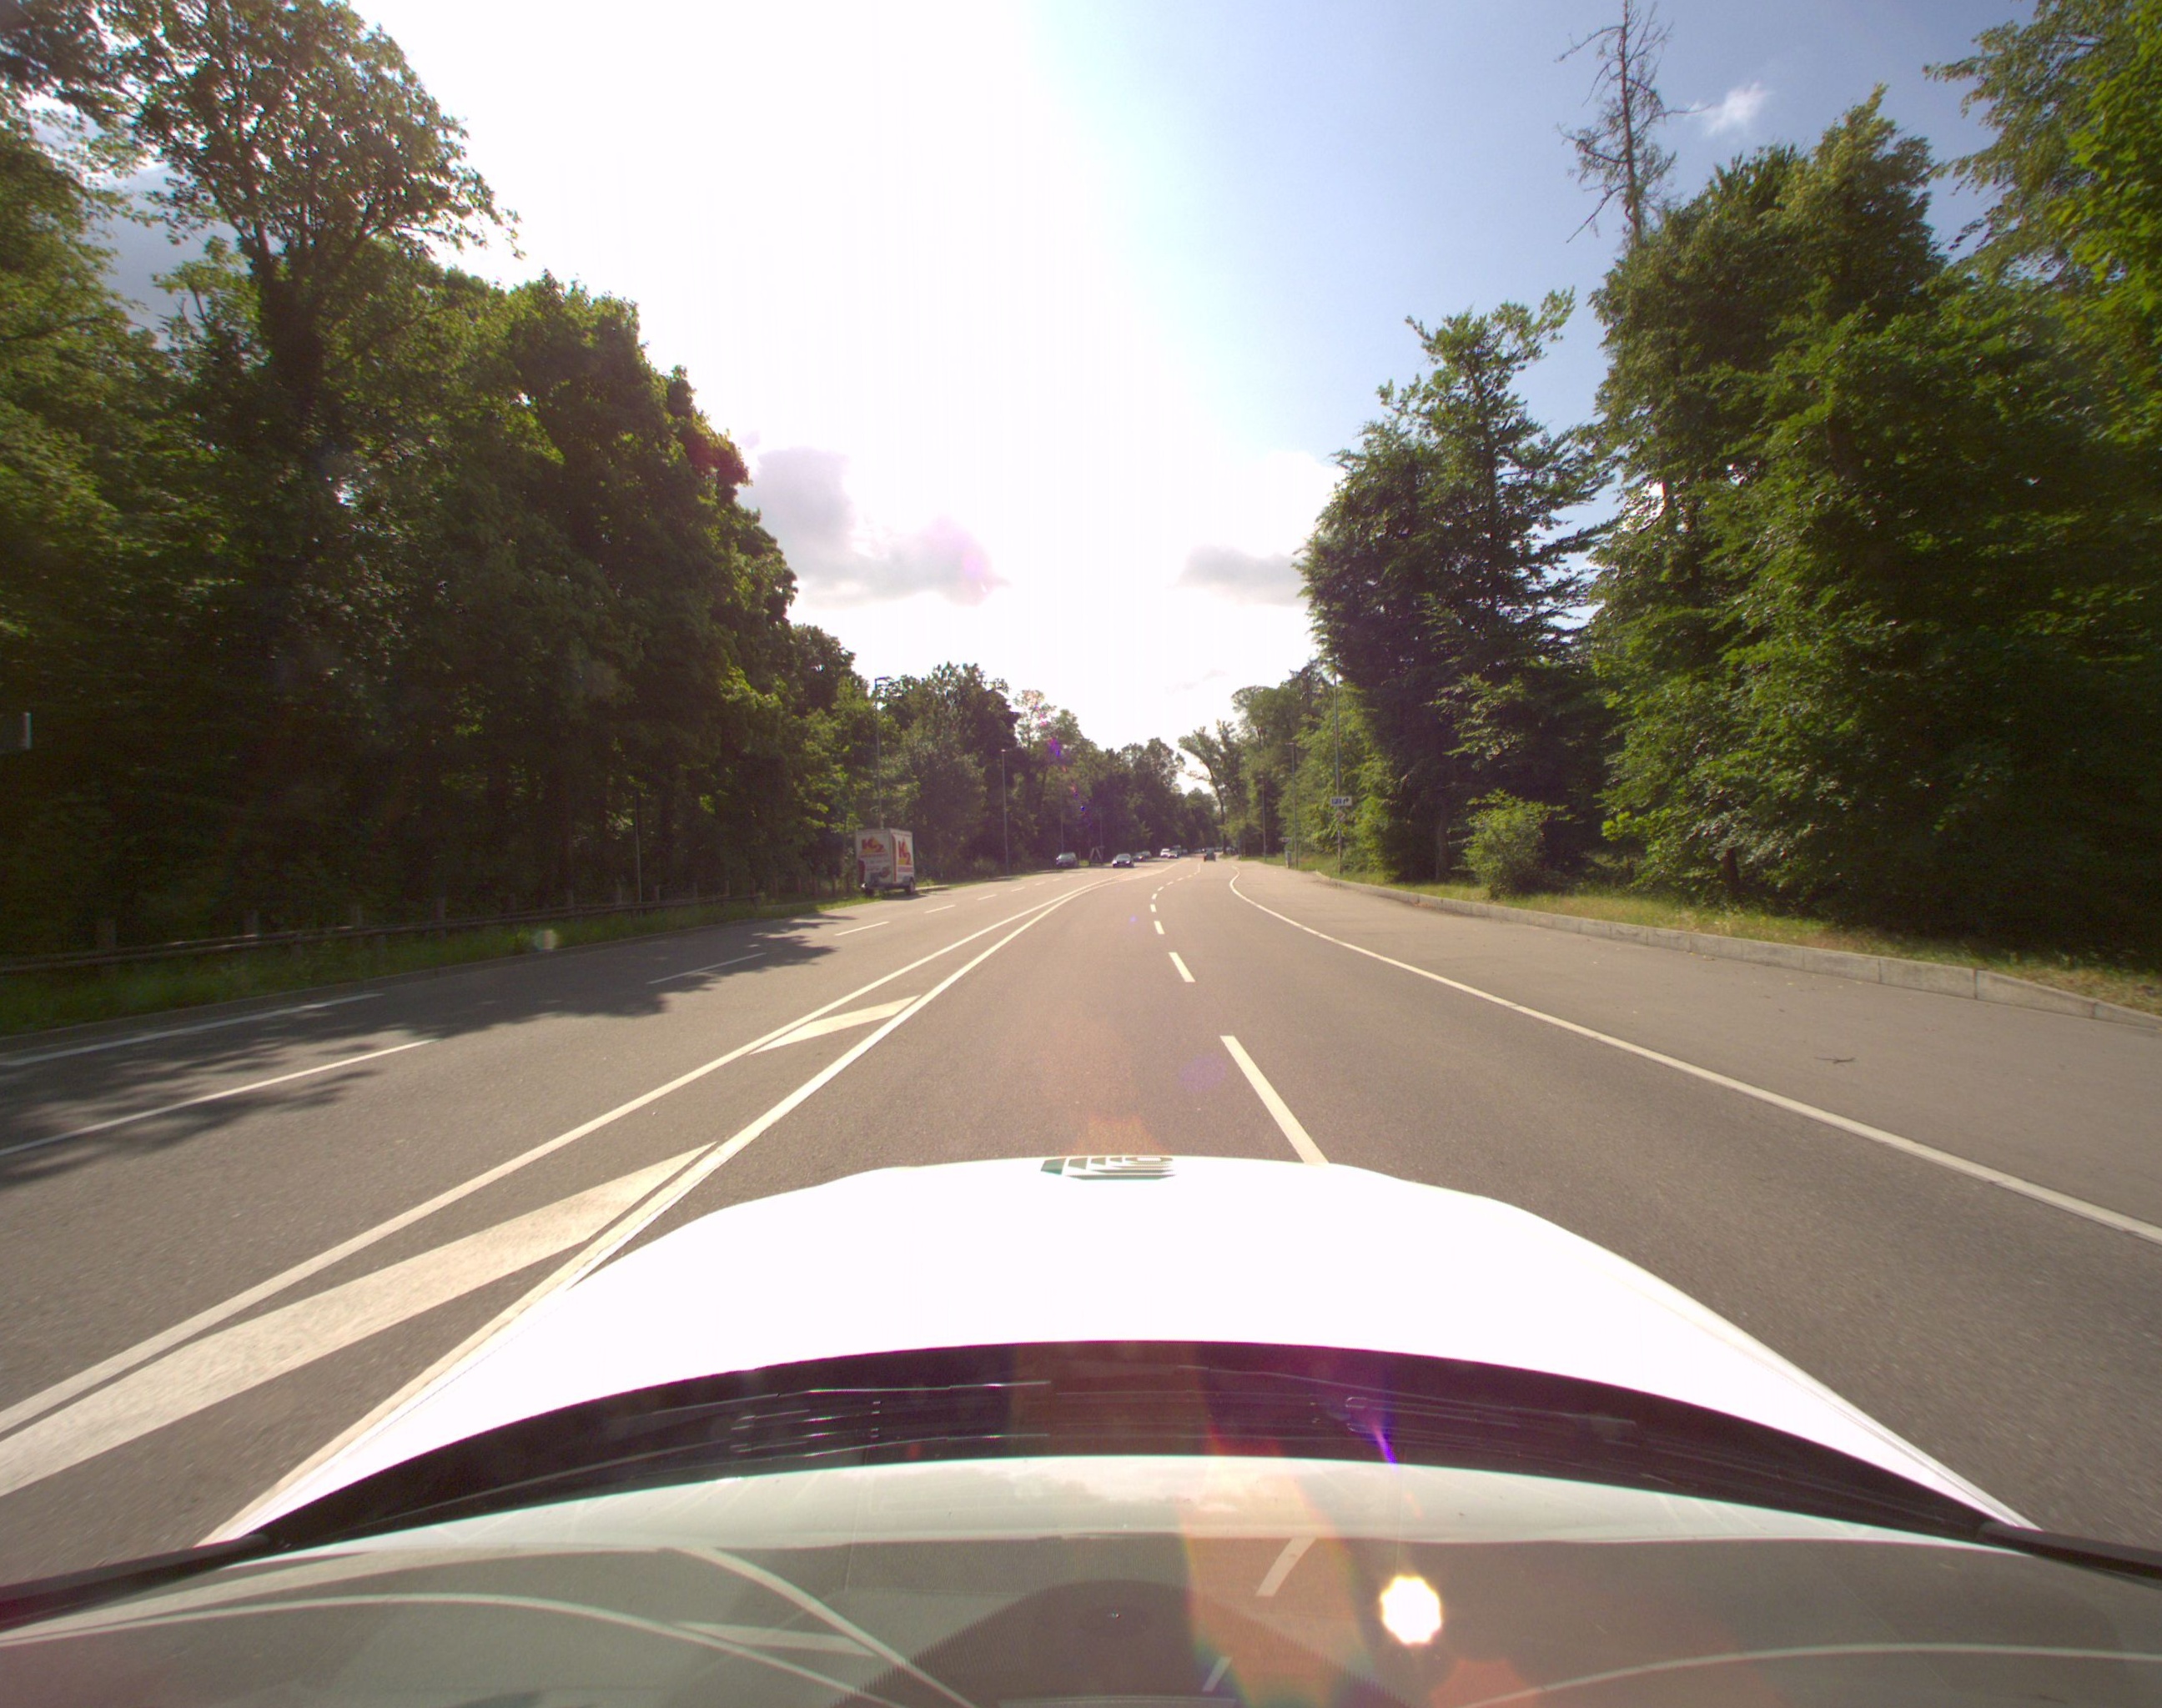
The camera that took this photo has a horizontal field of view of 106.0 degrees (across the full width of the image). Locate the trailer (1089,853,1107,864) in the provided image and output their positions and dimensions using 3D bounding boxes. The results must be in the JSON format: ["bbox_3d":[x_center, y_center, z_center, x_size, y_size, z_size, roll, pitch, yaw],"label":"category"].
[{"bbox_3d":[2.125,0.530,102.427,1.706,1.355,3.742,-1,0,9],"label":"trailer"}]

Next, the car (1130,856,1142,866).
[{"bbox_3d":[8.365,1.098,123.000,1.494,1.446,3.538,-1,0,9],"label":"car"}]

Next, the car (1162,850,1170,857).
[{"bbox_3d":[17.118,-0.155,164.385,1.494,1.446,3.538,-1,0,9],"label":"car"}]

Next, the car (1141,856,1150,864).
[{"bbox_3d":[12.339,1.107,155.355,1.495,1.446,3.537,-1,0,8],"label":"car"}]

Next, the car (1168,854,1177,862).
[{"bbox_3d":[16.978,0.772,151.819,1.495,1.446,3.538,-1,0,9],"label":"car"}]

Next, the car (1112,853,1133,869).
[{"bbox_3d":[4.108,0.667,80.503,1.494,1.446,3.540,-1,0,11],"label":"car"}]

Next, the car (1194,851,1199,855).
[{"bbox_3d":[34.711,-0.285,245.152,1.296,1.413,3.092,-1,0,10],"label":"car"}]

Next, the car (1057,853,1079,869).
[{"bbox_3d":[-1.241,0.678,79.934,1.494,1.446,3.539,-1,0,10],"label":"car"}]

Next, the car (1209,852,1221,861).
[{"bbox_3d":[19.790,0.353,120.419,1.587,1.378,3.987,-1,0,10],"label":"car"}]

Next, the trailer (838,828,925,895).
[{"bbox_3d":[-7.599,0.265,31.447,1.984,2.389,4.006,-1,0,5],"label":"trailer"}]
